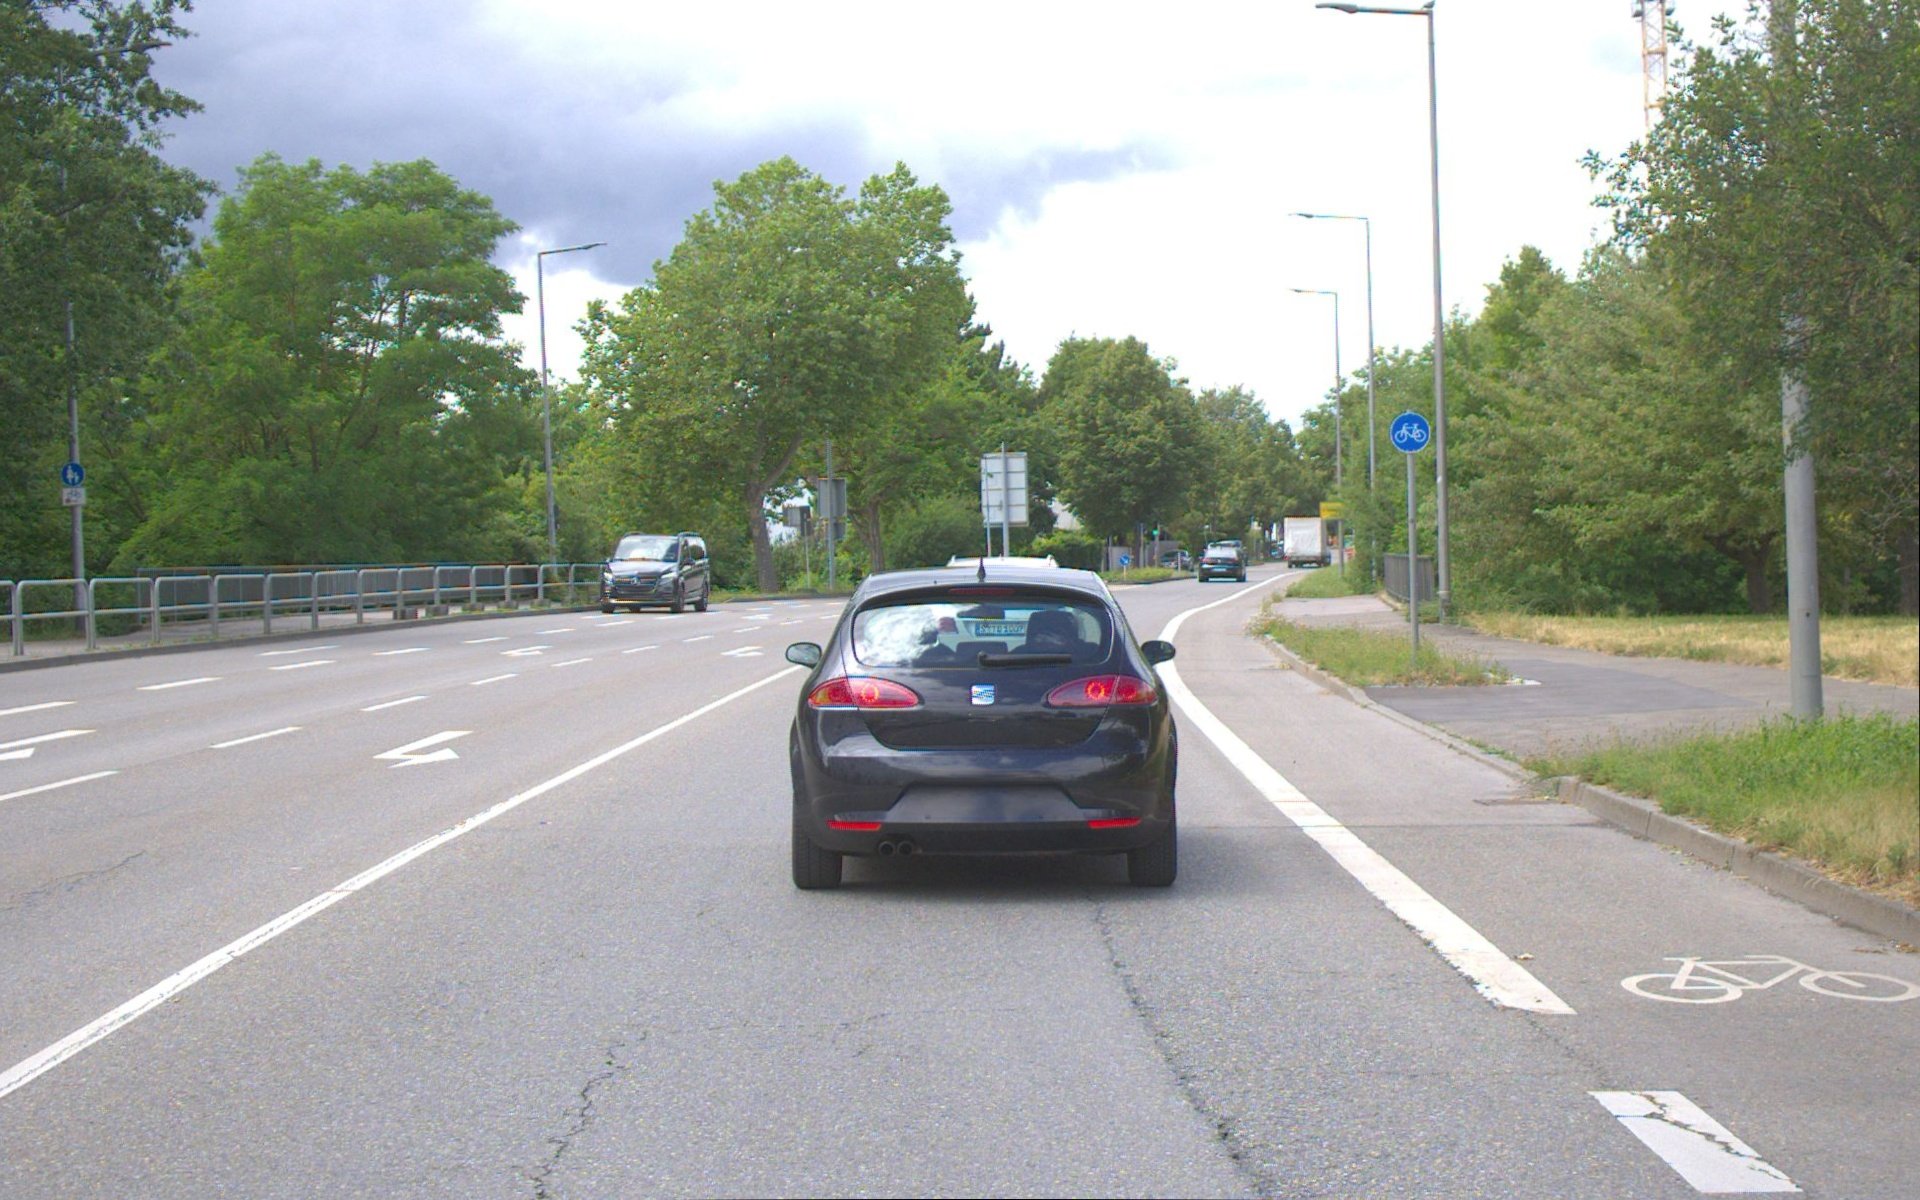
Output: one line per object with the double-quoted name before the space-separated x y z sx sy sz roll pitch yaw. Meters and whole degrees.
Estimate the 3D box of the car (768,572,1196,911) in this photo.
"car" 0.001 0.588 16.295 1.711 1.412 3.460 0 1 -5

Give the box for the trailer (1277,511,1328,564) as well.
"trailer" 20.883 -3.782 209.228 2.492 3.063 5.584 1 0 12

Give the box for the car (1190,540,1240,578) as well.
"car" 10.622 -1.716 142.955 1.994 1.560 4.470 0 1 6

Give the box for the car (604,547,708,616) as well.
"car" -7.248 -0.434 82.188 1.715 1.576 3.741 1 0 7

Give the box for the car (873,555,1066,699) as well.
"car" 0.052 0.275 37.383 1.834 1.462 3.751 1 0 -4
